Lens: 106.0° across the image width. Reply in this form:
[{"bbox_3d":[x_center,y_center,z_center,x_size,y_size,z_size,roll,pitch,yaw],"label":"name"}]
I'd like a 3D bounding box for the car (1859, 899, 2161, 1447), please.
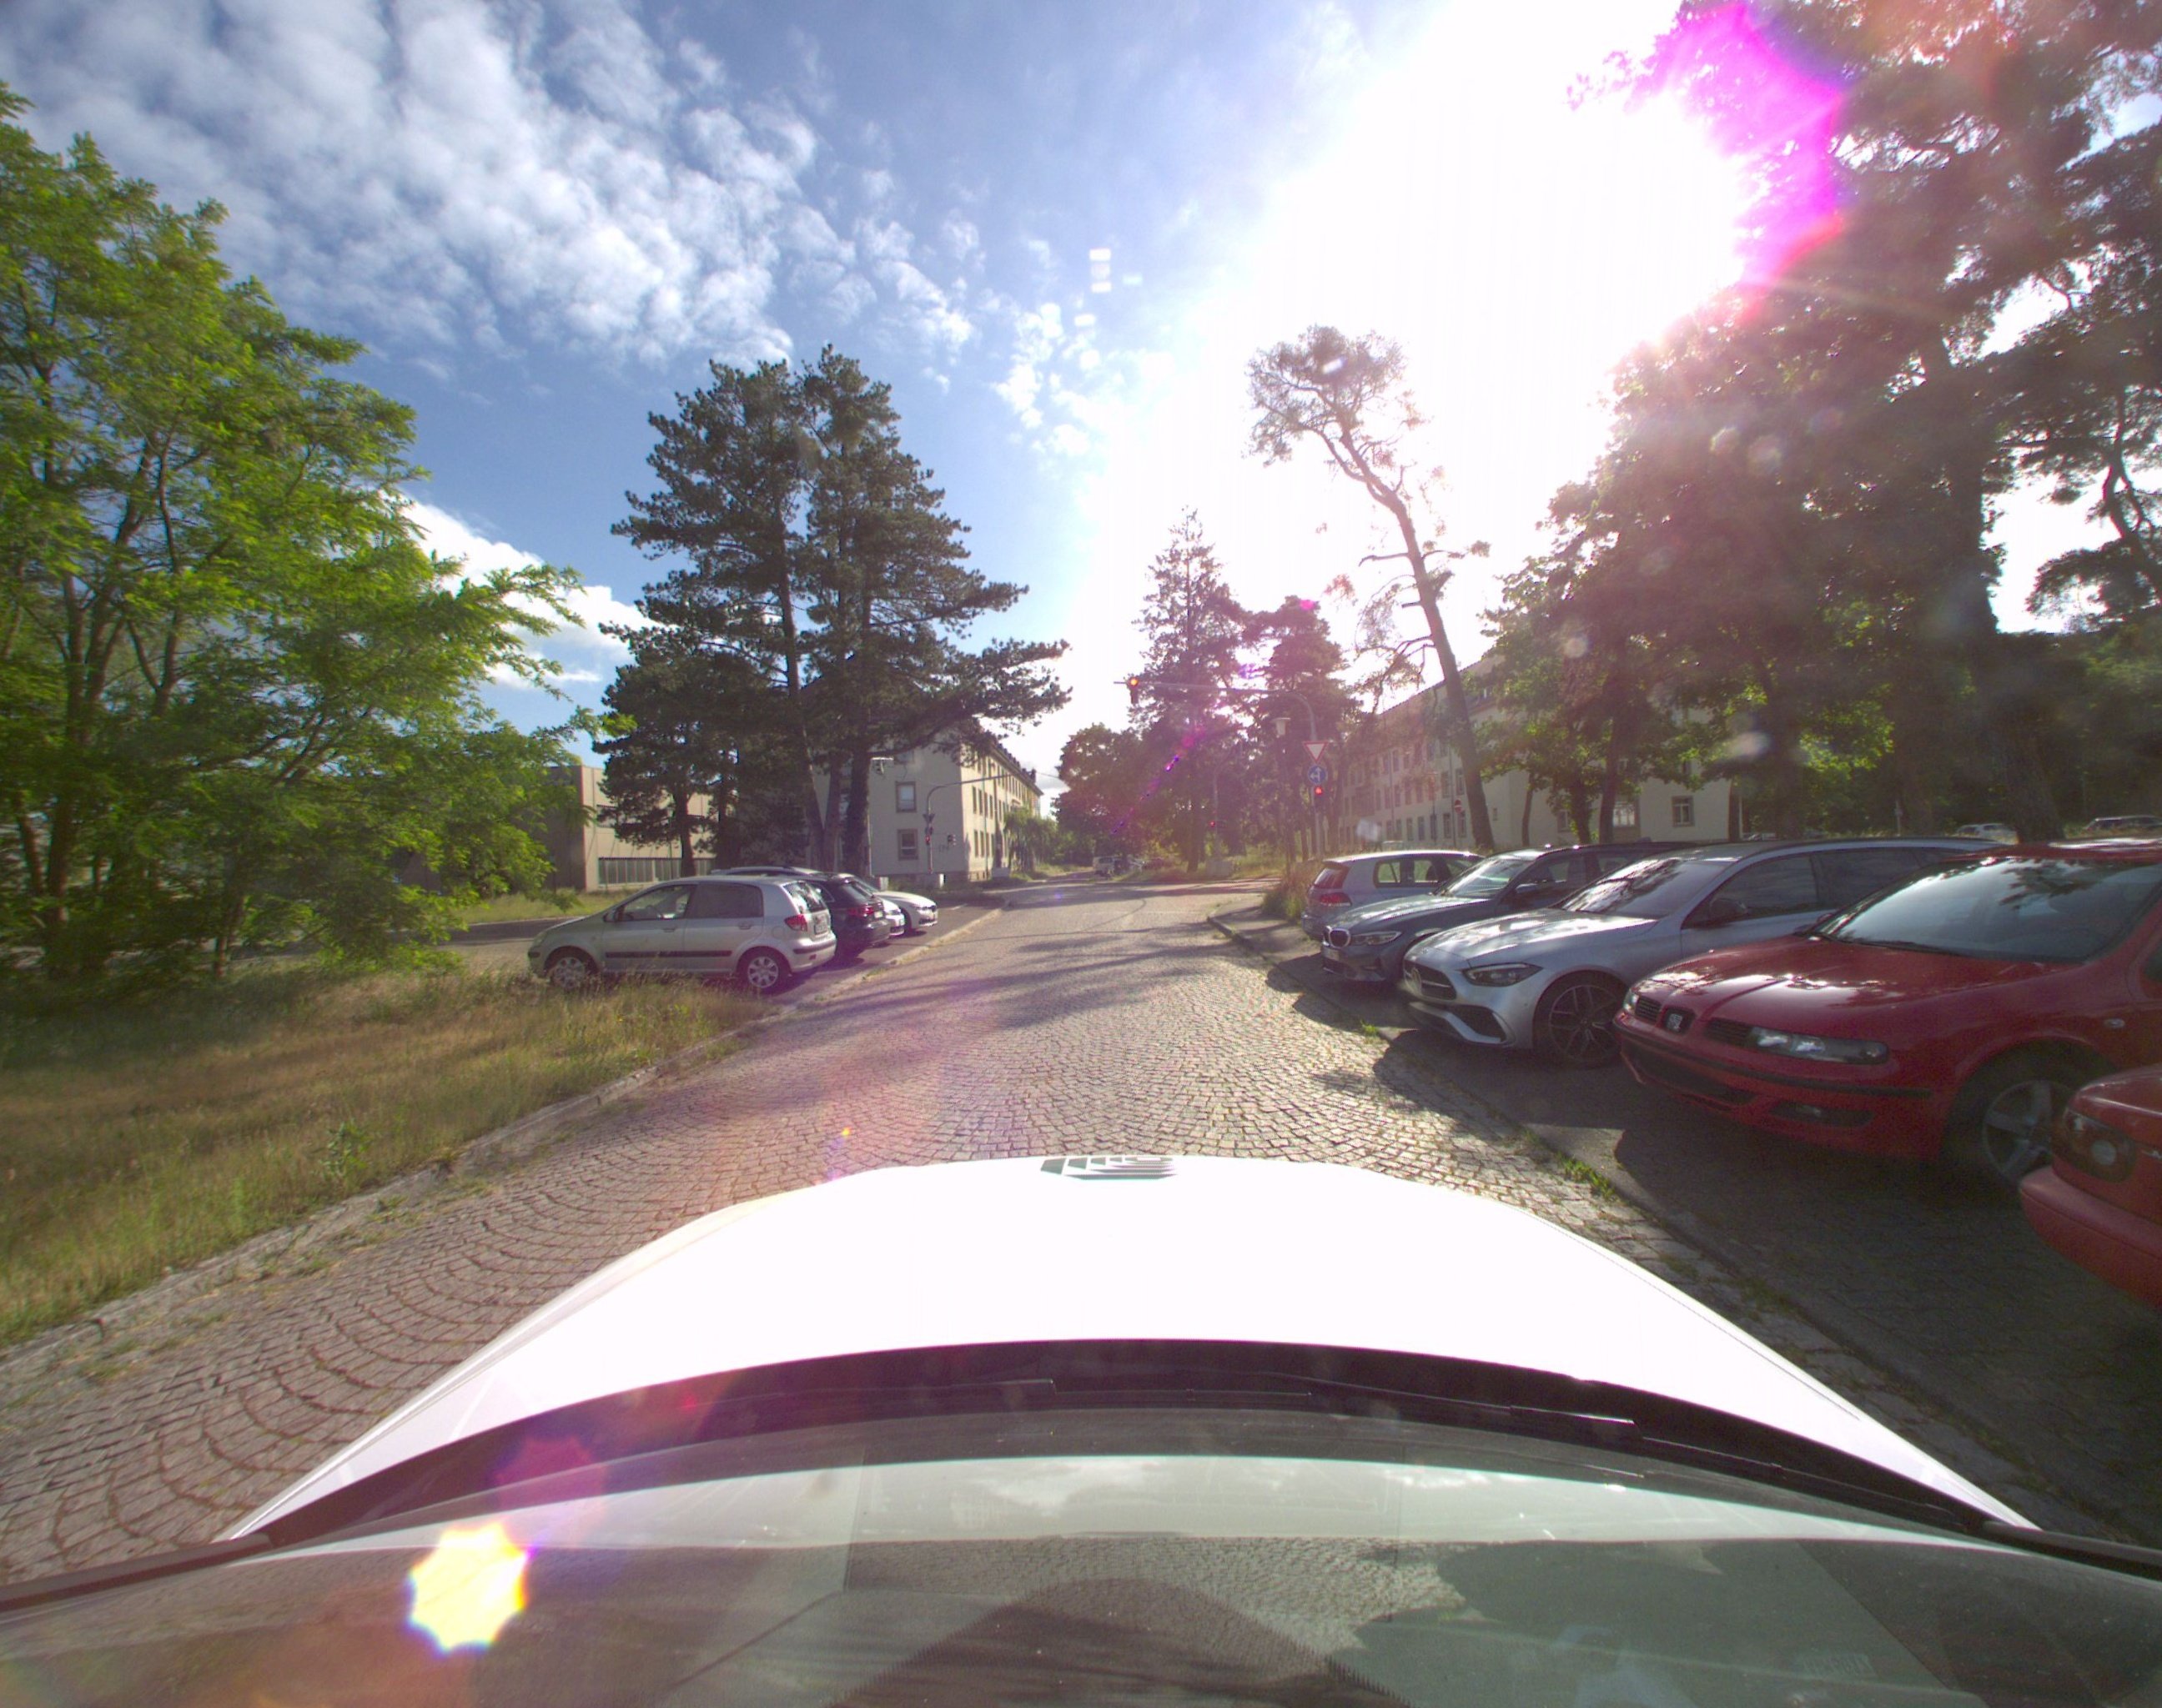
[{"bbox_3d":[4.416,0.698,1.760,3.693,1.223,1.747,-4,0,2],"label":"car"}]

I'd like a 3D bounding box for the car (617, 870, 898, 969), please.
[{"bbox_3d":[-5.274,1.043,13.685,3.975,1.480,1.802,0,0,-1],"label":"car"}]

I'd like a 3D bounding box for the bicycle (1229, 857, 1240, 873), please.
[{"bbox_3d":[9.127,0.672,48.424,0.300,0.961,1.585,0,-1,-1],"label":"bicycle"}]

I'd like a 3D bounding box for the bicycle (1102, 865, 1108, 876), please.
[{"bbox_3d":[2.068,1.419,70.376,0.415,1.010,1.484,-1,-1,3],"label":"bicycle"}]

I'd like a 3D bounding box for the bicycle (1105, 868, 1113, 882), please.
[{"bbox_3d":[1.928,1.471,57.137,0.466,1.010,1.585,0,-1,-1],"label":"bicycle"}]

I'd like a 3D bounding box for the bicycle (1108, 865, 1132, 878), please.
[{"bbox_3d":[3.062,1.346,64.159,1.835,1.010,0.634,0,-1,-6],"label":"bicycle"}]

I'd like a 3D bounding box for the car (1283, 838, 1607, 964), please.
[{"bbox_3d":[5.064,0.632,11.730,3.867,1.415,1.638,-4,0,2],"label":"car"}]

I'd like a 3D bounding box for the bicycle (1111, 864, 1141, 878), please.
[{"bbox_3d":[3.351,1.287,60.680,2.106,1.010,0.619,0,-1,-6],"label":"bicycle"}]

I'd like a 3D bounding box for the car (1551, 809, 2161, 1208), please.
[{"bbox_3d":[4.918,0.565,4.061,4.111,1.449,1.638,-4,0,2],"label":"car"}]

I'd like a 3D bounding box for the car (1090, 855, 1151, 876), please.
[{"bbox_3d":[3.804,1.122,78.760,5.533,2.014,1.989,0,-1,-16],"label":"car"}]

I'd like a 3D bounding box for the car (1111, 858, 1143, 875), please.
[{"bbox_3d":[4.204,1.168,75.146,2.775,1.467,1.669,0,-1,-3],"label":"car"}]

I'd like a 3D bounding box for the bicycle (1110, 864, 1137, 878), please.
[{"bbox_3d":[3.249,1.316,62.397,2.002,1.010,0.631,0,-1,-6],"label":"bicycle"}]

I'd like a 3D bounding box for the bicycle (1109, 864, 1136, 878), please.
[{"bbox_3d":[3.207,1.331,63.281,2.025,1.010,0.626,0,-1,-6],"label":"bicycle"}]

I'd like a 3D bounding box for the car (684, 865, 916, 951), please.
[{"bbox_3d":[-5.597,1.050,16.657,4.068,1.593,1.884,0,0,-1],"label":"car"}]

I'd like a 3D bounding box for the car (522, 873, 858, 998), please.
[{"bbox_3d":[-5.125,1.037,11.049,3.735,1.487,1.645,0,0,-1],"label":"car"}]

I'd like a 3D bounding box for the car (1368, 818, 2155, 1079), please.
[{"bbox_3d":[4.746,0.628,6.237,4.414,1.415,1.782,-4,0,2],"label":"car"}]

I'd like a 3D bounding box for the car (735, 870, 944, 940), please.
[{"bbox_3d":[-5.518,1.143,19.013,4.321,1.468,1.830,0,0,-1],"label":"car"}]

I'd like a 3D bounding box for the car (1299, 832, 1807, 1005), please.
[{"bbox_3d":[4.909,0.644,8.951,4.542,1.415,1.637,-4,0,2],"label":"car"}]
